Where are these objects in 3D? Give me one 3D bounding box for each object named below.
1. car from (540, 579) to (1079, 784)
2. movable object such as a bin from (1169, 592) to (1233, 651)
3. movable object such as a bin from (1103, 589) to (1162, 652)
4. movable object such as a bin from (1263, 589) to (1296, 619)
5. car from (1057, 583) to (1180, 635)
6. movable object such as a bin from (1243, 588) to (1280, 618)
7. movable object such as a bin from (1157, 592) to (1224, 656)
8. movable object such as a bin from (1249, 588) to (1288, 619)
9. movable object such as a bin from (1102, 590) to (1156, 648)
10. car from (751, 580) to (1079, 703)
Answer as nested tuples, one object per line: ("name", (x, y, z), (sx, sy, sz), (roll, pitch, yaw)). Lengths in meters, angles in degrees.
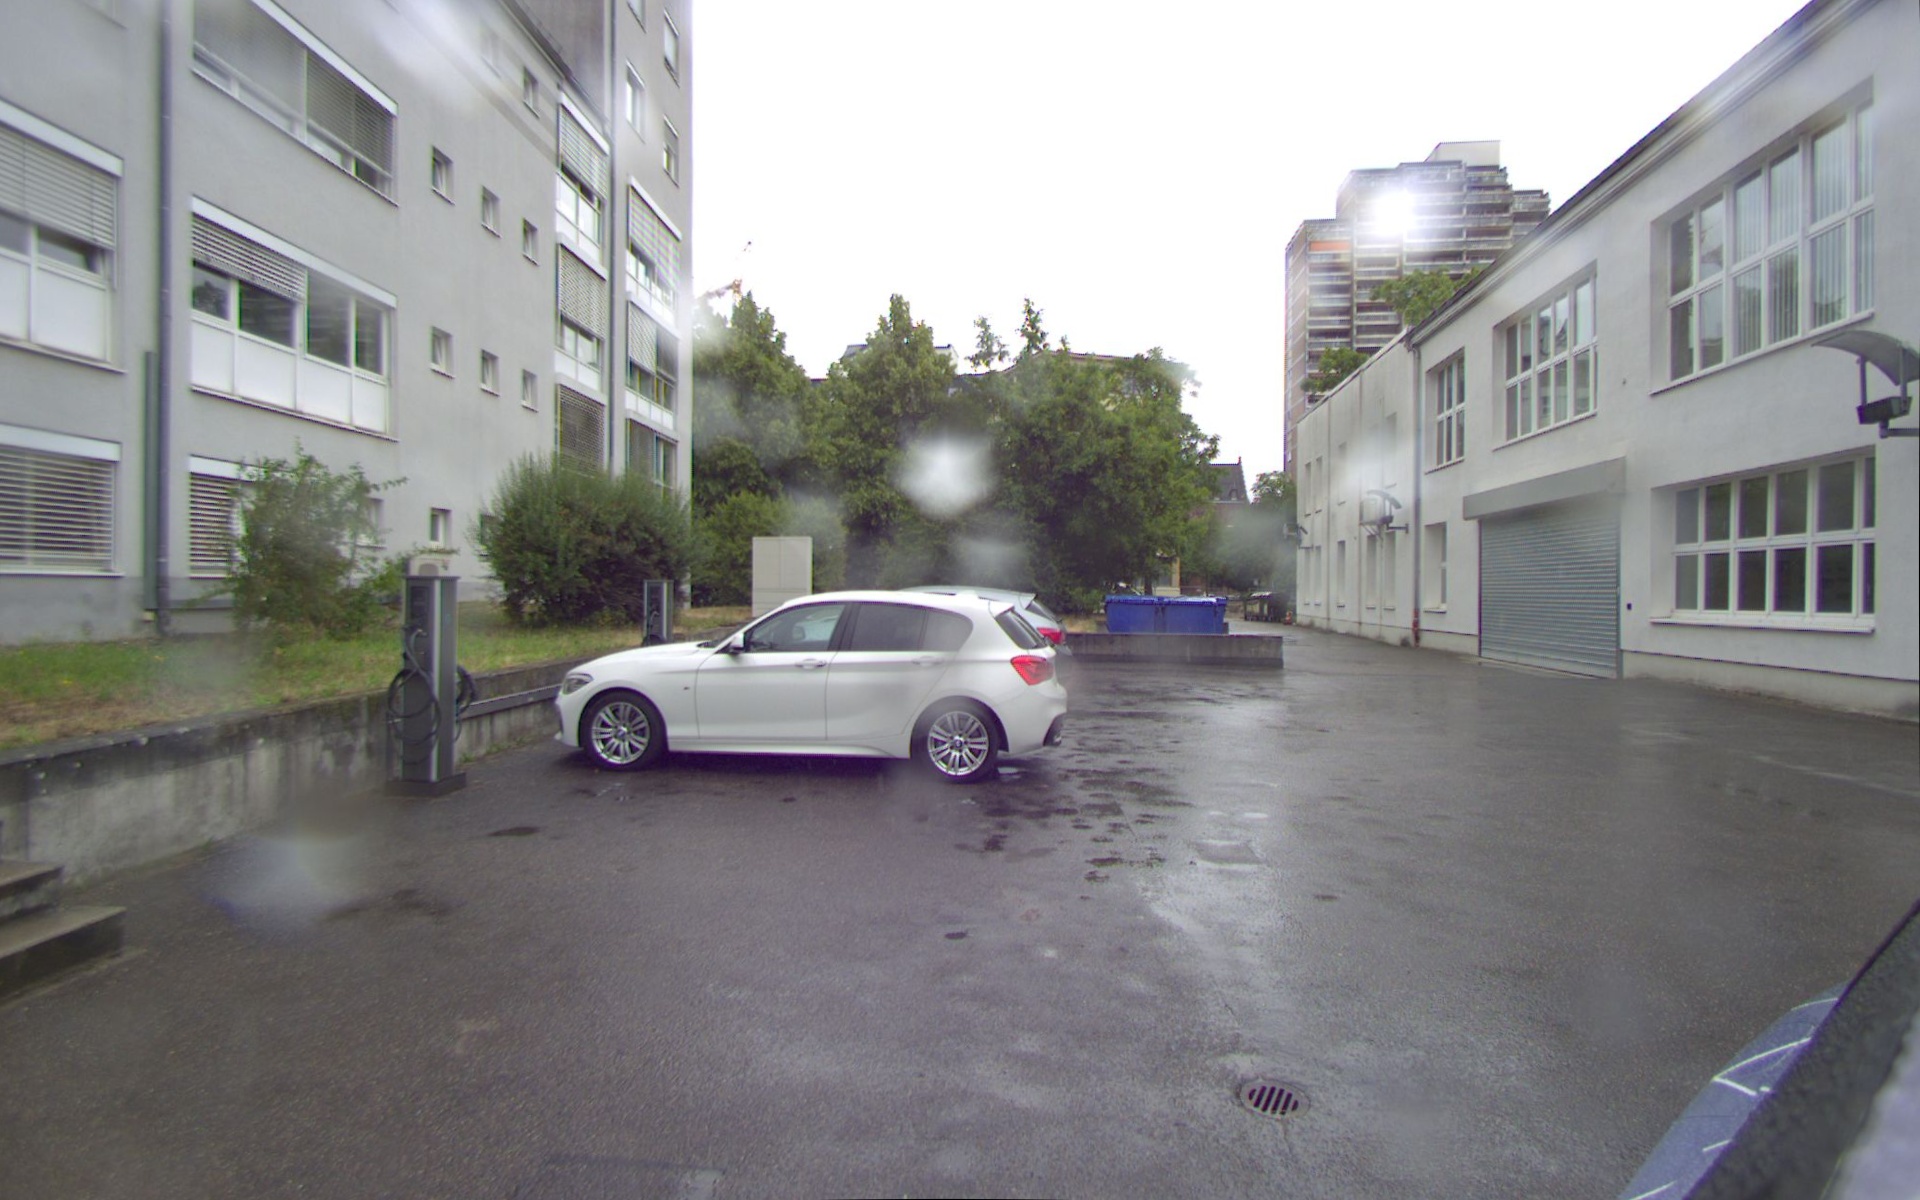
("car", (-1.121, 0.602, 8.673), (4.145, 1.508, 1.998), (0, 0, 4))
("movable object such as a bin", (5.903, 0.537, 24.907), (1.291, 1.375, 1.900), (-1, -2, 7))
("movable object such as a bin", (3.933, 0.471, 23.254), (1.212, 1.375, 1.966), (-1, -2, 7))
("movable object such as a bin", (15.085, 0.205, 47.855), (1.166, 1.392, 1.312), (-1, -2, 3))
("car", (6.204, 0.391, 39.788), (4.622, 1.906, 2.116), (-1, -3, 10))
("movable object such as a bin", (15.134, 0.172, 50.791), (1.465, 1.467, 1.312), (-1, -2, 3))
("movable object such as a bin", (5.220, 0.544, 23.074), (1.291, 1.375, 1.900), (-1, -2, 7))
("movable object such as a bin", (15.062, 0.171, 49.444), (1.465, 1.467, 1.312), (-1, -2, 3))
("movable object such as a bin", (4.192, 0.470, 25.232), (1.212, 1.375, 1.966), (-1, -2, 7))
("car", (-0.531, 0.510, 13.721), (4.145, 1.508, 1.998), (0, 0, 4))
